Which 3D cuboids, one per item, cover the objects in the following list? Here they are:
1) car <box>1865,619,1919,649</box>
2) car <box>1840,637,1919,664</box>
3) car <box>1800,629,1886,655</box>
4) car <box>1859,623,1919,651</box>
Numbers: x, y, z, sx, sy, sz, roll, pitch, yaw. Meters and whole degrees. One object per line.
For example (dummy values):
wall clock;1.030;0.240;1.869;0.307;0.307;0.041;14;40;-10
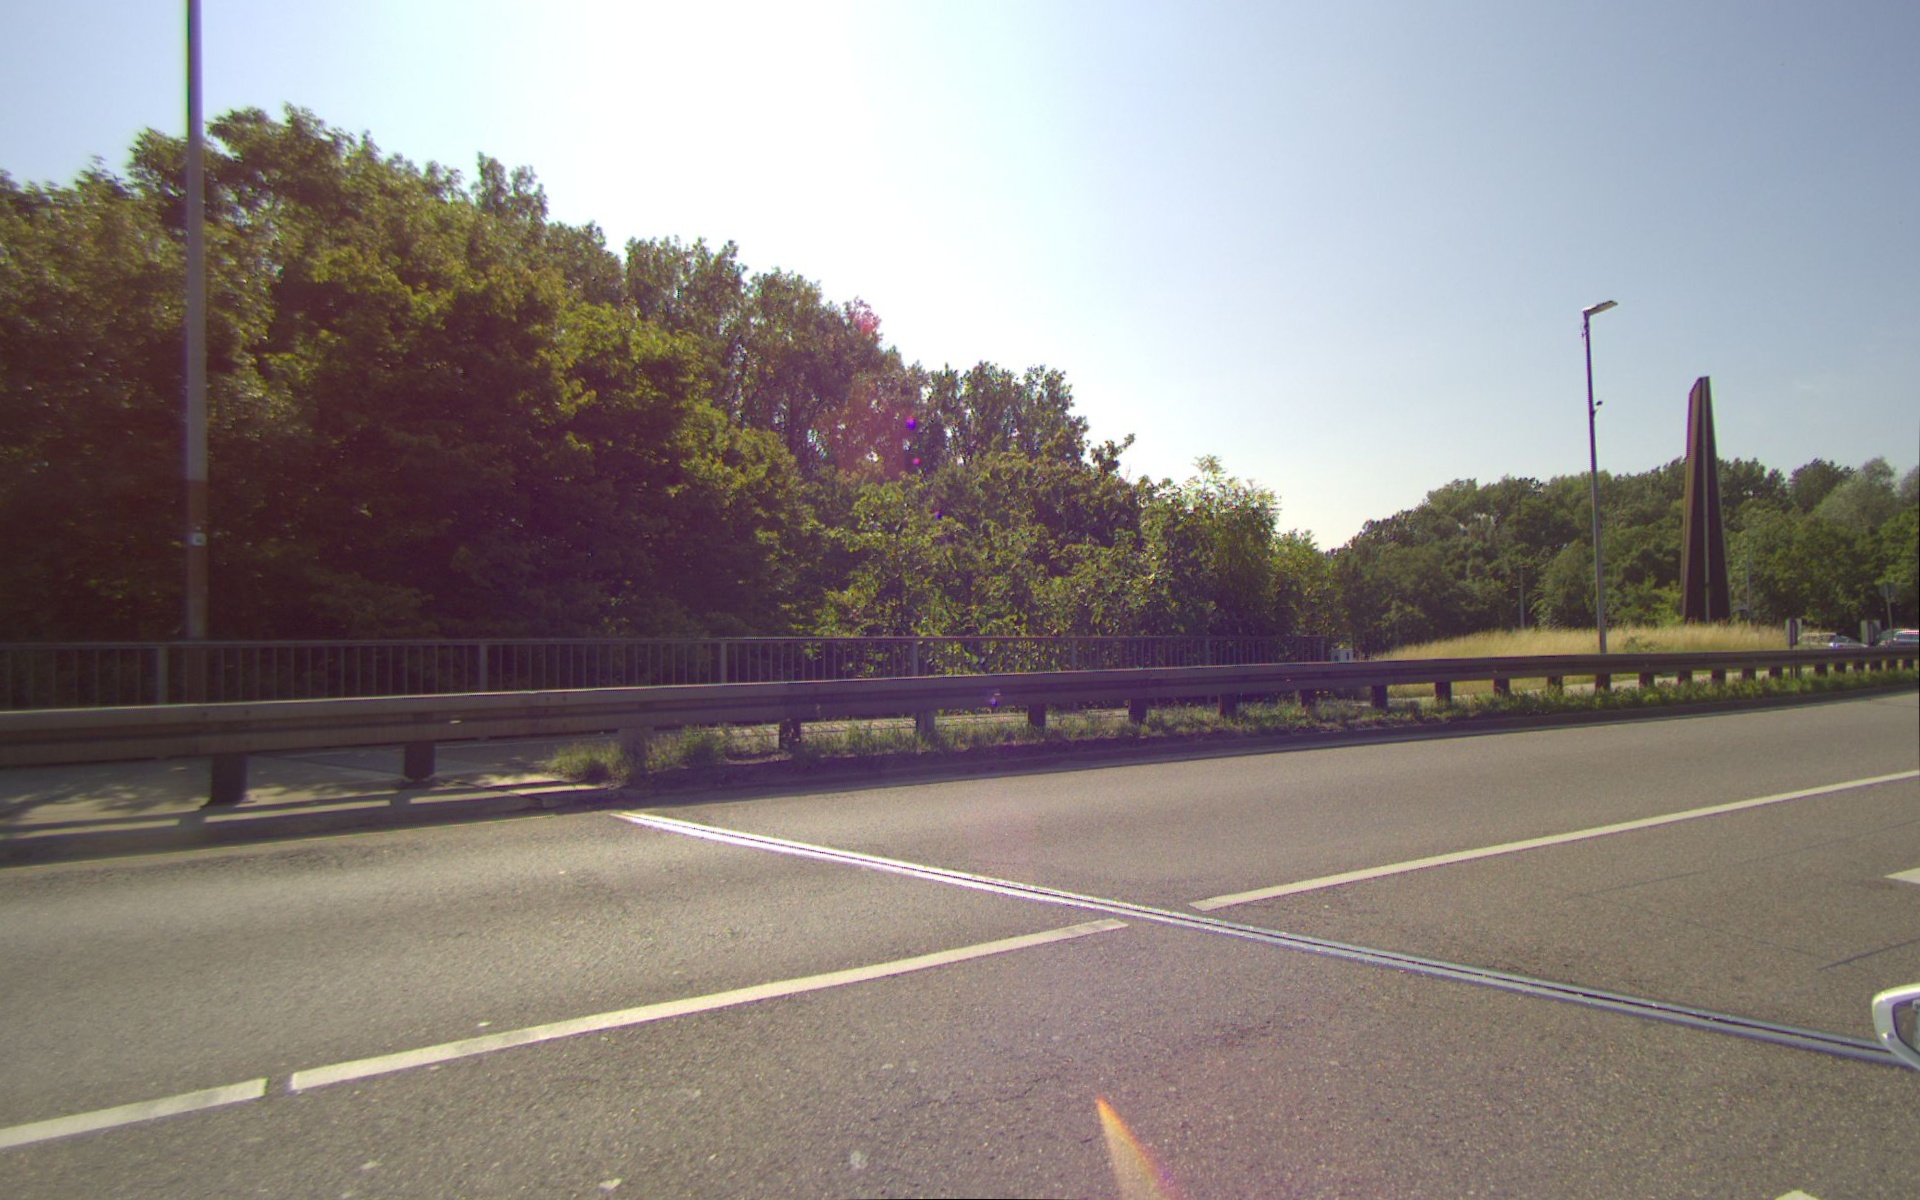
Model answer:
car;50.963;1.813;53.722;1.668;1.406;4.003;3;-4;3
car;54.881;3.036;59.506;2.081;1.406;4.003;3;-4;3
car;56.012;2.703;63.836;2.081;1.406;4.003;3;-4;3
car;54.805;2.167;58.314;1.732;1.406;4.003;3;-4;3
